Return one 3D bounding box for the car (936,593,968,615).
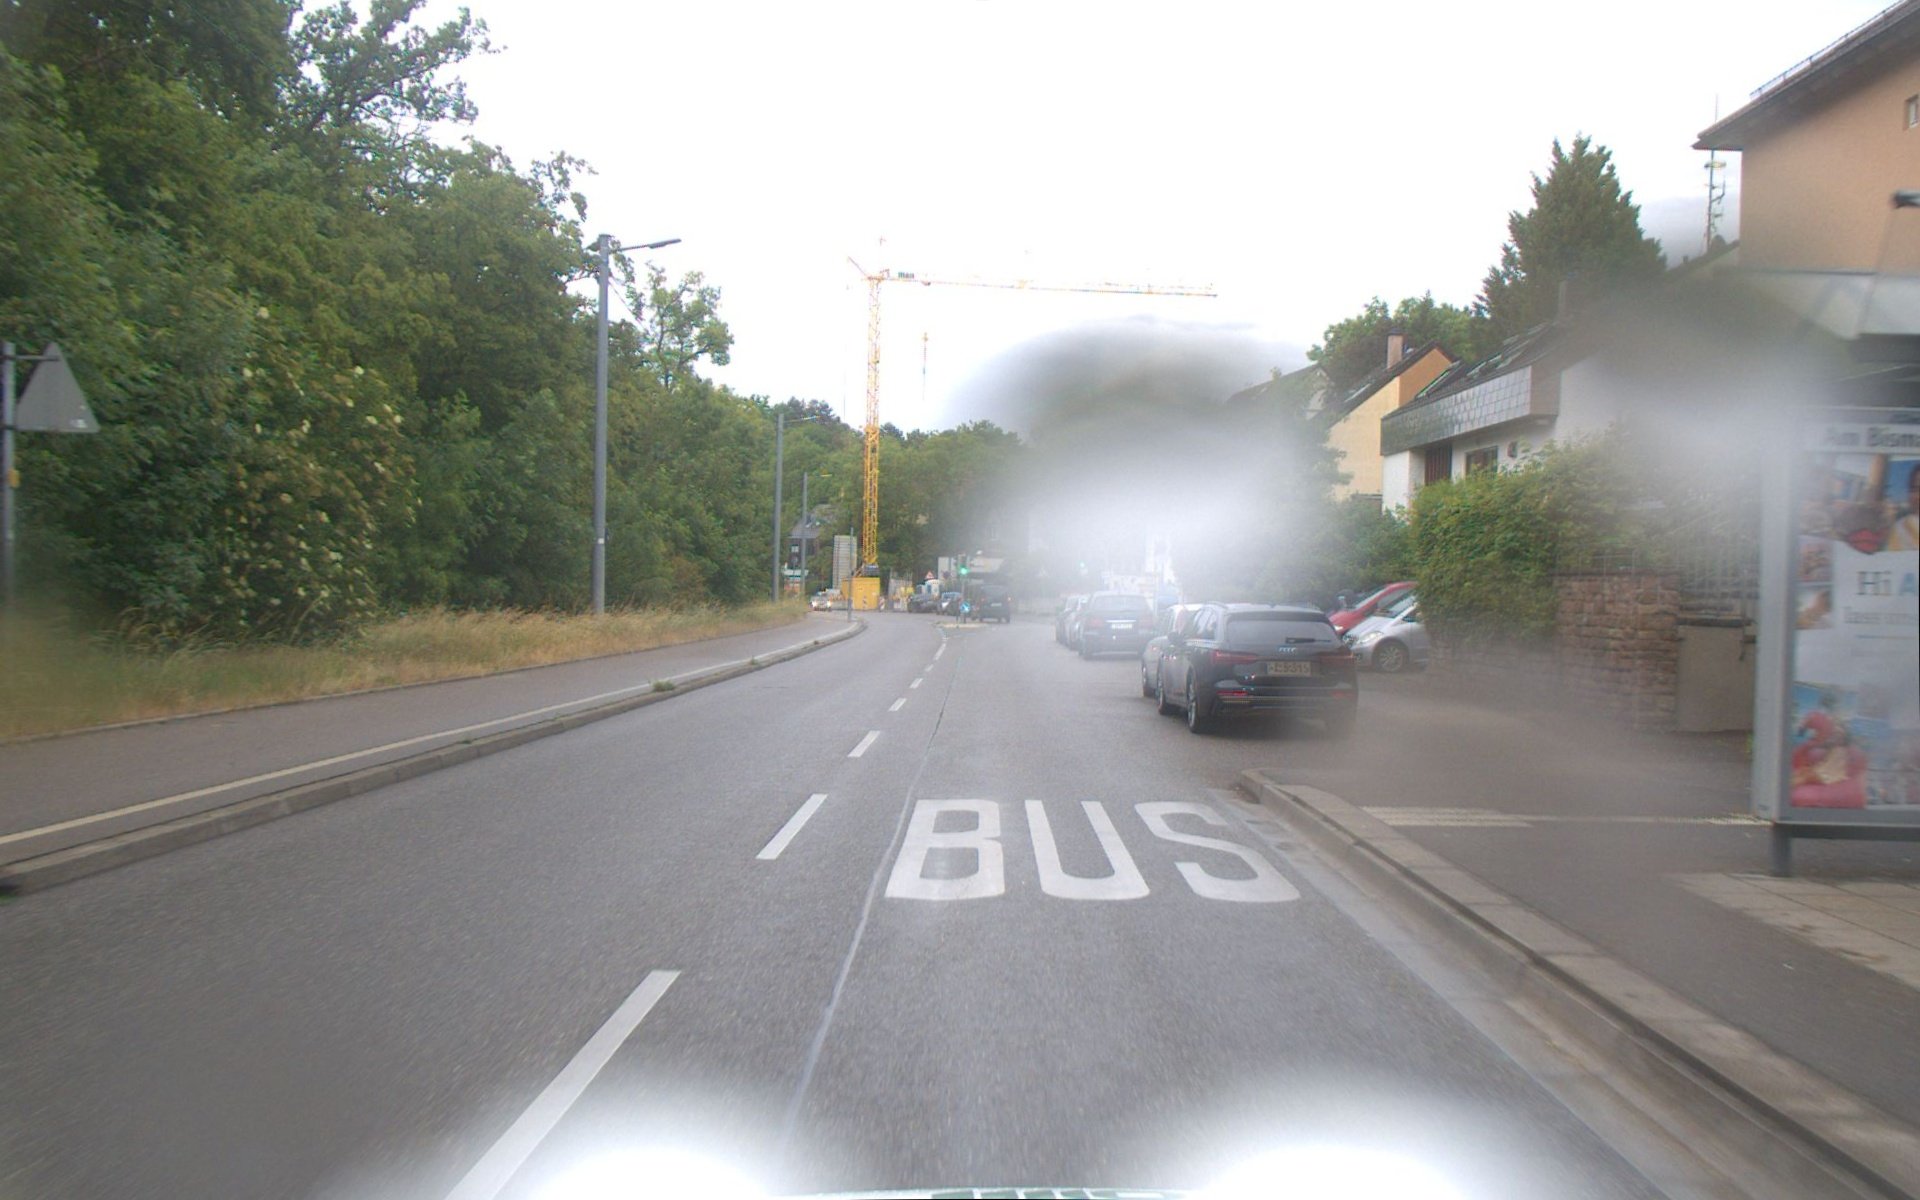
[{"bbox_3d":[-0.547,0.272,111.506,1.643,1.483,3.377,-1,0,-10],"label":"car"}]

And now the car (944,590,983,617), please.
[{"bbox_3d":[0.182,0.208,106.995,1.895,1.624,4.387,-2,0,-7],"label":"car"}]

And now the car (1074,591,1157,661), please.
[{"bbox_3d":[3.779,0.599,40.757,1.694,1.595,4.523,-1,1,1],"label":"car"}]

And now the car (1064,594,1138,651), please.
[{"bbox_3d":[3.942,0.637,46.951,1.756,1.513,4.495,0,-1,0],"label":"car"}]

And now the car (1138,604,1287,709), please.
[{"bbox_3d":[3.653,0.792,24.561,1.775,1.422,4.104,0,-1,3],"label":"car"}]

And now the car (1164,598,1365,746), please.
[{"bbox_3d":[3.533,0.797,19.986,1.792,1.574,4.631,0,-1,3],"label":"car"}]

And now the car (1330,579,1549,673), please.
[{"bbox_3d":[9.128,0.475,31.657,3.584,1.563,1.828,-3,0,-2],"label":"car"}]

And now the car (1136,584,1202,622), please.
[{"bbox_3d":[9.637,0.159,76.647,1.896,1.624,4.334,3,-1,-8],"label":"car"}]

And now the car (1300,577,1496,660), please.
[{"bbox_3d":[9.132,0.378,34.696,3.582,1.593,1.882,-2,0,1],"label":"car"}]

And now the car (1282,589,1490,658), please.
[{"bbox_3d":[9.403,0.513,36.761,4.157,1.486,1.882,0,-1,1],"label":"car"}]

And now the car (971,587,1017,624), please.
[{"bbox_3d":[1.699,0.304,84.923,1.894,1.782,3.996,3,-1,-5],"label":"car"}]

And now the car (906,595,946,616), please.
[{"bbox_3d":[-2.576,0.391,125.092,1.899,1.447,4.819,2,0,-15],"label":"car"}]

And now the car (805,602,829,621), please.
[{"bbox_3d":[-11.517,0.897,133.725,1.708,1.485,4.412,0,0,-2],"label":"car"}]

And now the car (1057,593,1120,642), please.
[{"bbox_3d":[4.002,0.551,51.912,1.715,1.468,4.601,0,-1,1],"label":"car"}]

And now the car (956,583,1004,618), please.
[{"bbox_3d":[1.215,0.040,102.039,1.958,2.049,4.944,-2,0,-10],"label":"car"}]
